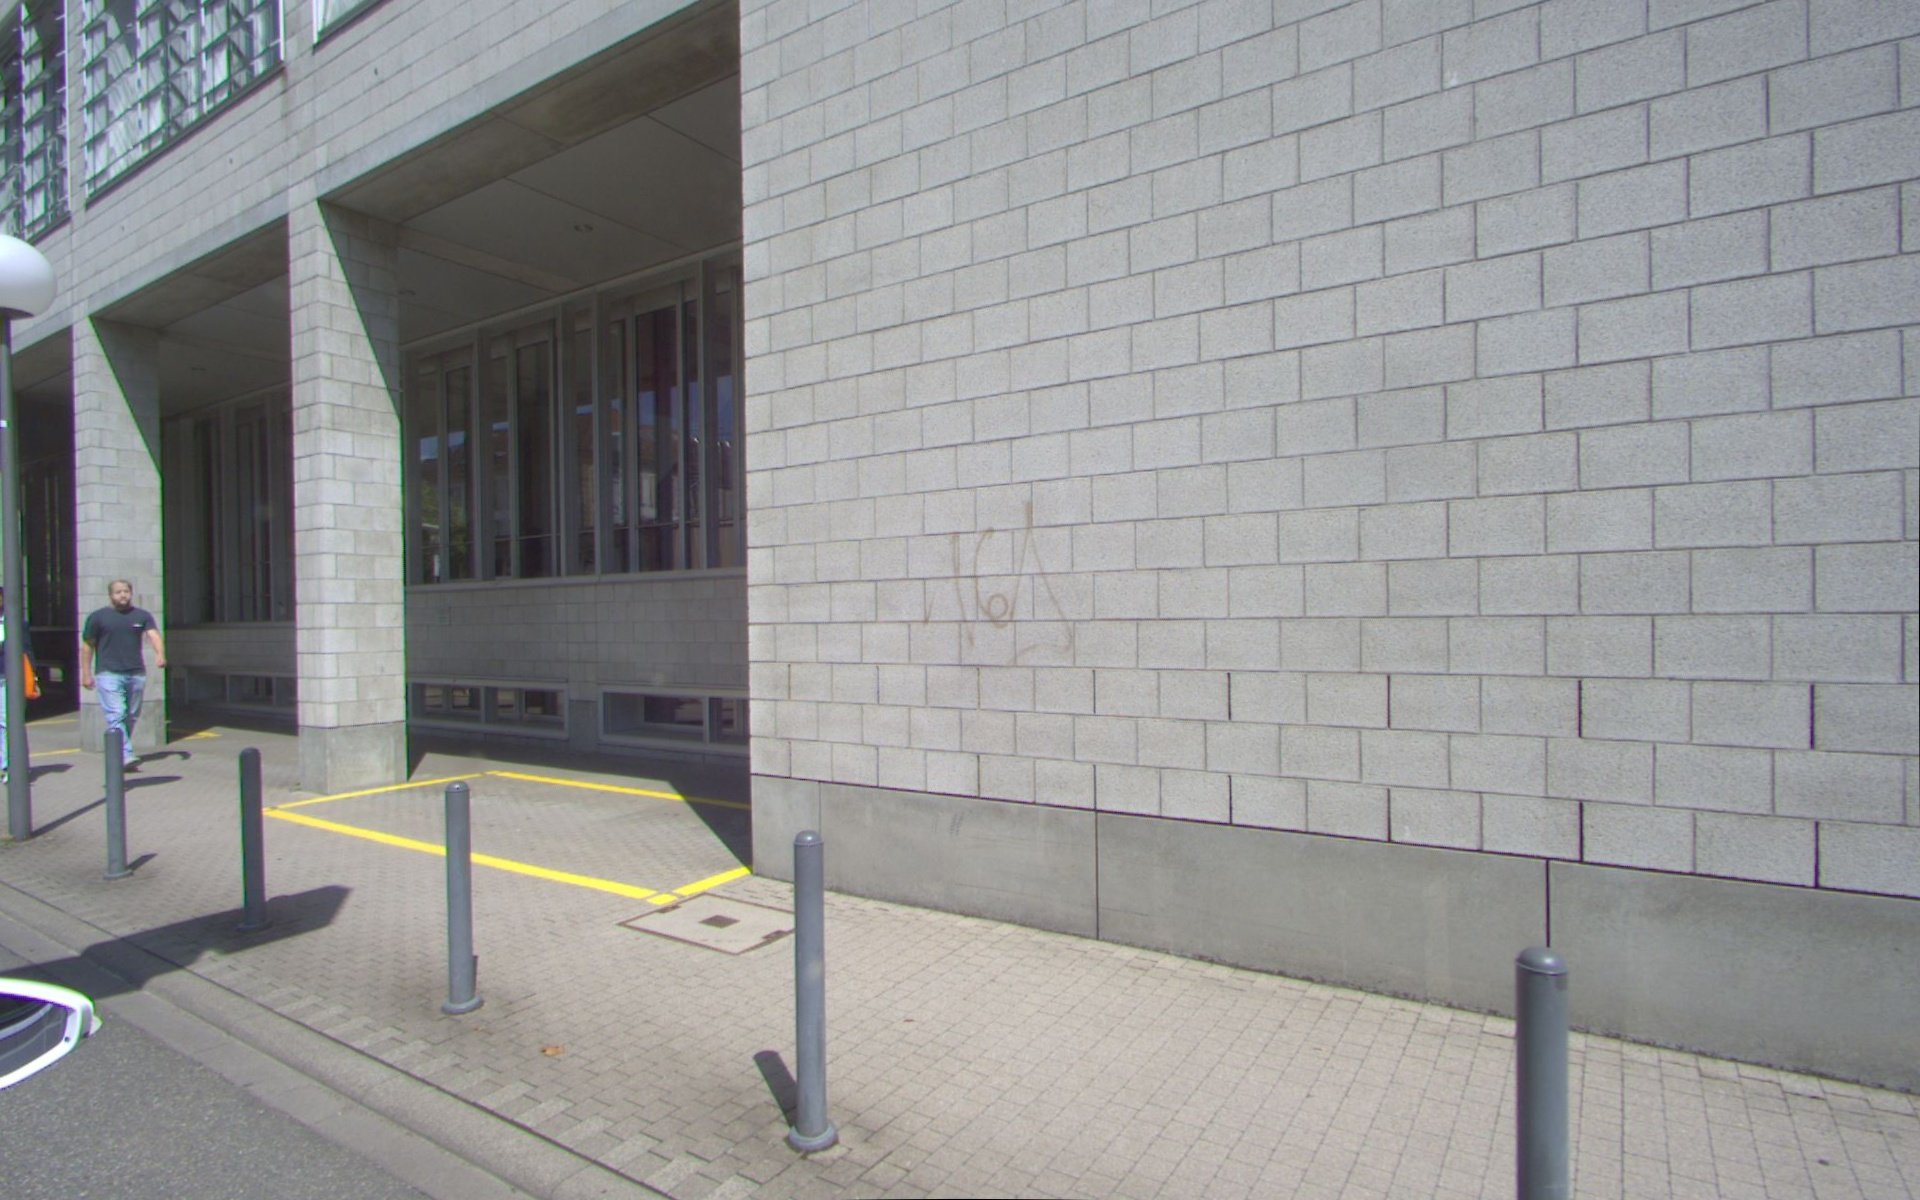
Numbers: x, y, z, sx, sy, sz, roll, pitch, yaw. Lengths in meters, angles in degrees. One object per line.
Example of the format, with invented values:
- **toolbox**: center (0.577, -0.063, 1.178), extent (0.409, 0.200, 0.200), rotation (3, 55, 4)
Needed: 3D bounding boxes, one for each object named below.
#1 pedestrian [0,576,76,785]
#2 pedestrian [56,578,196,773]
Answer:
- **pedestrian**: center (-8.666, 0.697, 9.047), extent (1.070, 1.805, 0.693), rotation (0, 2, 32)
- **pedestrian**: center (-8.173, 0.693, 9.820), extent (0.897, 1.805, 0.765), rotation (0, 2, 32)
